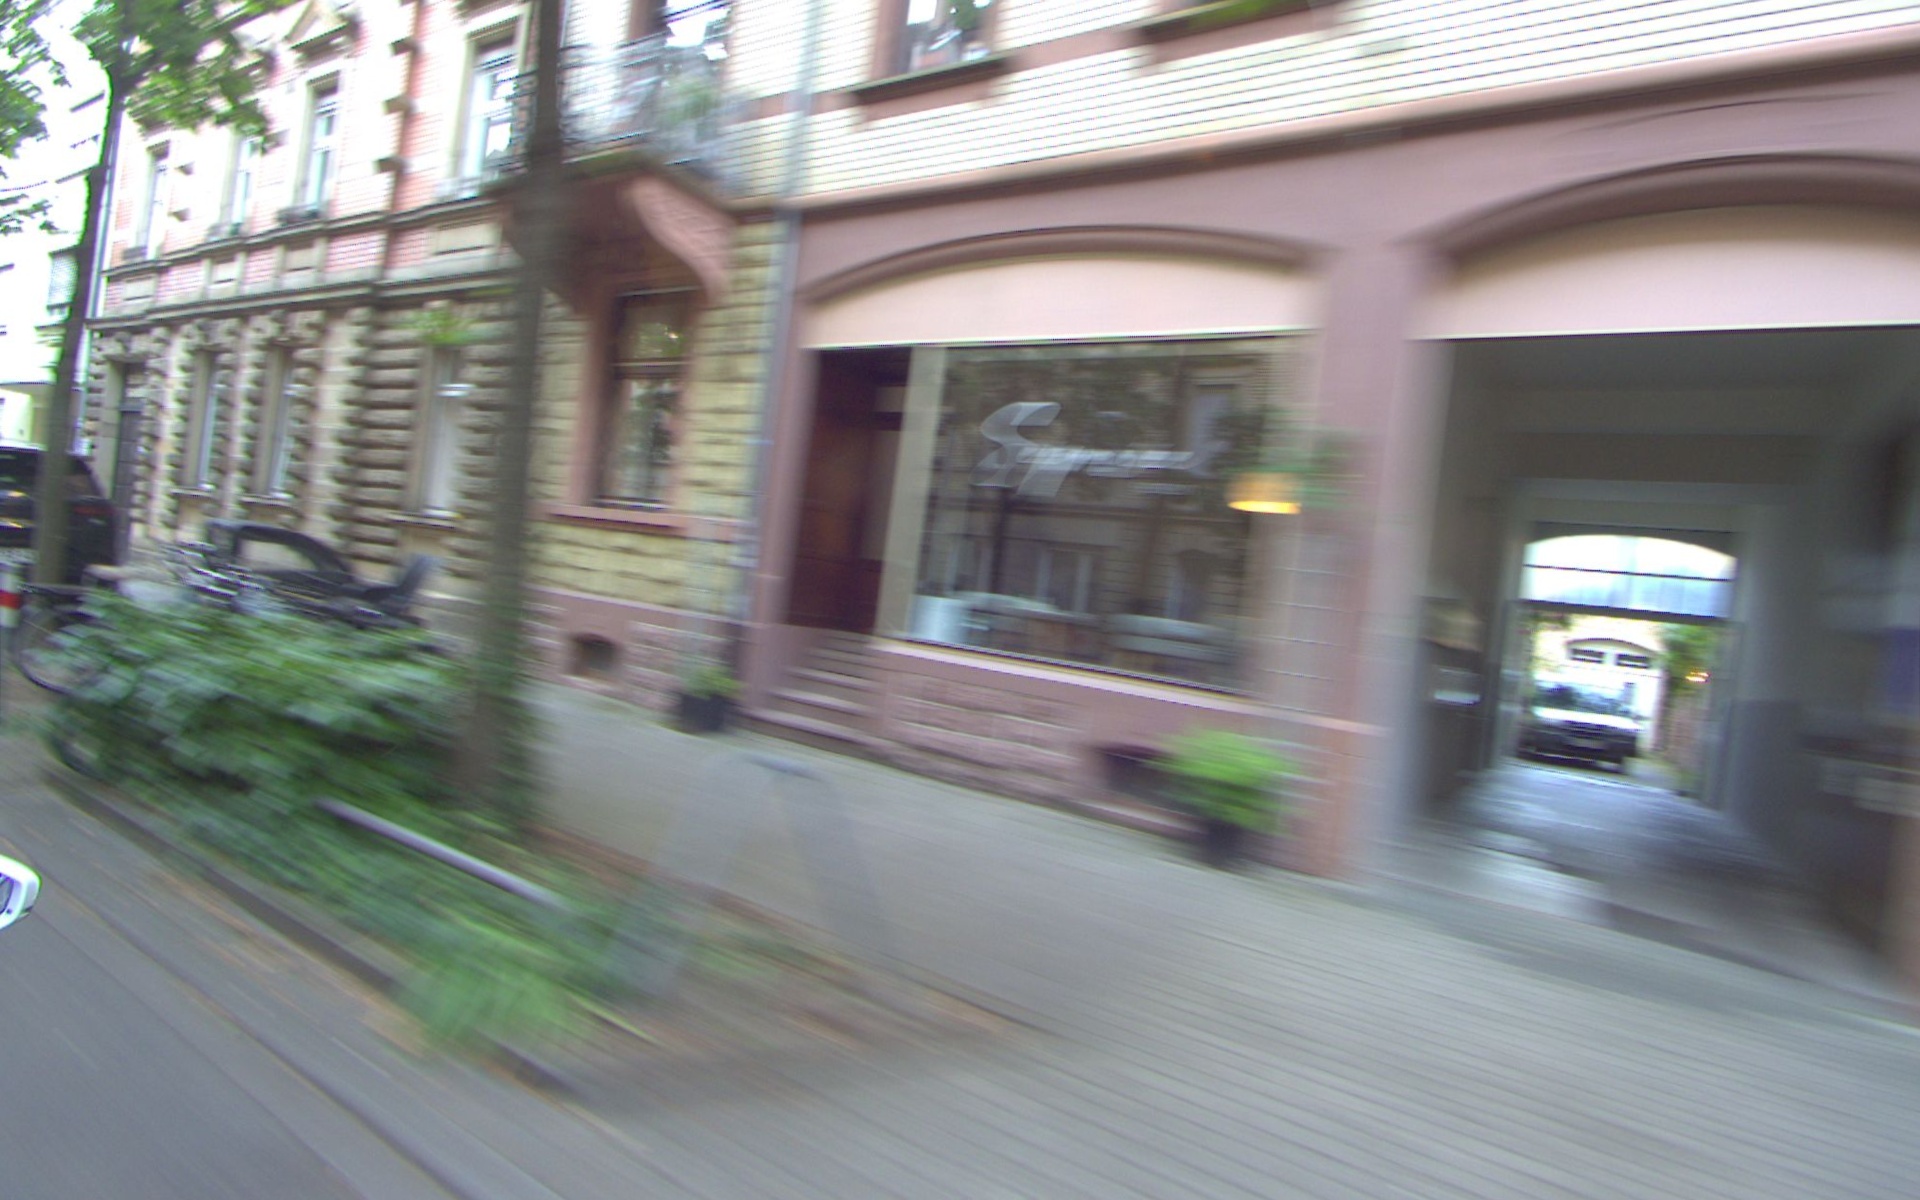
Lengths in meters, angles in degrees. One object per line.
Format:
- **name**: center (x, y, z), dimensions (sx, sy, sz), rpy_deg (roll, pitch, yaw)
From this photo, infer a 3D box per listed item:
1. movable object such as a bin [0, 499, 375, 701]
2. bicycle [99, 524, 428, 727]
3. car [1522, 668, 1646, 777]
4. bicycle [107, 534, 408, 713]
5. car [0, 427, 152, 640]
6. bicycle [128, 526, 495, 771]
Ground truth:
- **movable object such as a bin**: center (-5.952, 0.023, 7.858), dimensions (0.758, 1.323, 2.214), rpy_deg (8, 3, 35)
- **bicycle**: center (-4.767, 0.216, 7.004), dimensions (0.573, 1.213, 1.697), rpy_deg (8, 0, 36)
- **car**: center (12.543, 2.409, 20.434), dimensions (1.814, 1.754, 3.877), rpy_deg (6, -1, 30)
- **bicycle**: center (-5.175, 0.218, 7.513), dimensions (0.573, 1.158, 1.658), rpy_deg (8, 0, 36)
- **car**: center (-10.381, -0.843, 10.174), dimensions (4.732, 1.857, 2.014), rpy_deg (8, 2, 33)
- **bicycle**: center (-4.120, 0.299, 6.533), dimensions (0.788, 1.311, 1.762), rpy_deg (8, 2, 32)
